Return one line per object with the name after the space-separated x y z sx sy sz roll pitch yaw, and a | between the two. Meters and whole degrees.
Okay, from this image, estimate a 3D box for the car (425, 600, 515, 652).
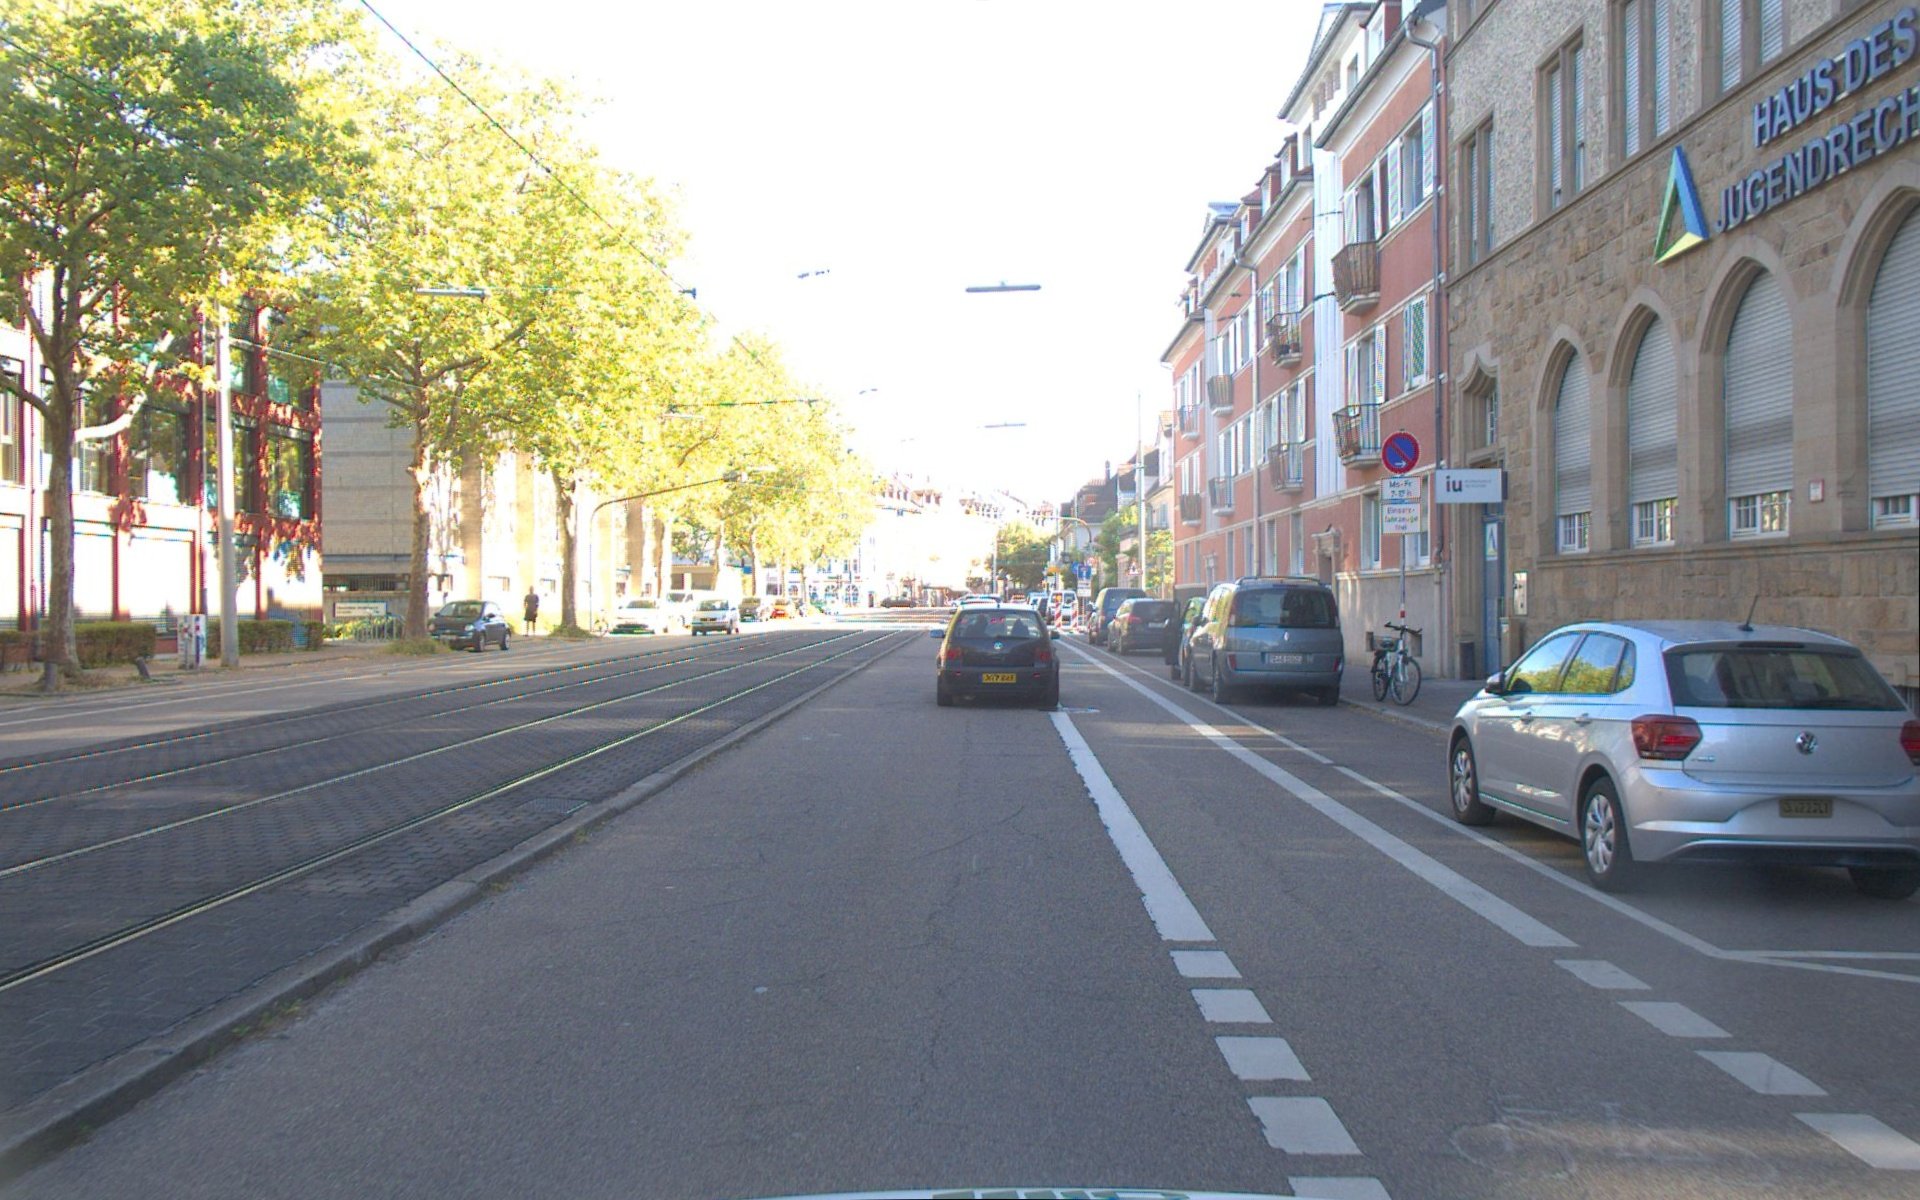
-14.376 0.792 48.658 1.476 1.479 3.463 0 -2 2 | car

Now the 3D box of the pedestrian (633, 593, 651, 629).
-16.584 0.553 86.258 0.780 1.852 0.670 2 0 1 | pedestrian

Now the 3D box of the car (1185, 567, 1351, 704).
4.603 0.488 25.383 1.717 1.888 4.816 1 0 1 | car

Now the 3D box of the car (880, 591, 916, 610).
-7.225 0.037 192.483 3.915 2.049 1.995 2 0 -11 | car

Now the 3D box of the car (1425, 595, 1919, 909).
4.333 0.755 10.351 1.678 1.527 4.226 2 0 1 | car

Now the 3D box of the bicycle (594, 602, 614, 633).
-14.500 0.701 67.371 0.570 1.230 1.652 0 0 -5 | bicycle

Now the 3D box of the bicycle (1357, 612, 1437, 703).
6.098 0.771 23.181 0.504 1.159 2.259 -2 0 0 | bicycle

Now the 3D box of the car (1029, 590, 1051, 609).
6.102 -0.029 126.533 1.547 1.399 4.000 0 0 1 | car

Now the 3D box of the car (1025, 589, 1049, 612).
6.081 0.045 131.167 1.780 1.830 4.000 0 0 1 | car

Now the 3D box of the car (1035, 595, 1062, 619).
5.784 0.449 108.549 1.626 1.552 4.036 0 0 1 | car

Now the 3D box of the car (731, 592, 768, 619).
-13.634 0.339 107.466 1.849 1.695 4.000 0 0 1 | car

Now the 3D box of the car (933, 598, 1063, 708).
0.485 0.697 23.750 1.713 1.399 4.000 0 0 -1 | car

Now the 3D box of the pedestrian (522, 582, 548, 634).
-15.919 0.308 61.990 0.775 1.902 0.665 1 0 -27 | pedestrian

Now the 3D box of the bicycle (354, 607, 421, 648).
-19.083 0.918 55.166 1.967 1.301 0.664 1 0 1 | bicycle

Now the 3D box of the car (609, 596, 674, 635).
-14.006 0.655 72.949 1.971 1.600 4.693 2 0 -1 | car

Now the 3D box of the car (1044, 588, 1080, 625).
5.460 0.344 88.789 1.723 1.870 3.548 2 0 1 | car

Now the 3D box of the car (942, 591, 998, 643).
0.347 0.509 52.954 1.712 1.564 3.892 0 0 1 | car

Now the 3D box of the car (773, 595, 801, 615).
-13.919 0.397 133.349 1.755 1.491 3.836 3 0 1 | car

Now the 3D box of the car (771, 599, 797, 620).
-13.195 0.738 124.101 1.538 1.560 3.572 0 -1 1 | car

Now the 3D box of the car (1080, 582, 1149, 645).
4.965 0.413 53.599 1.668 1.842 4.271 3 0 -1 | car

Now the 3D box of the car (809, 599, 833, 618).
-12.848 0.753 152.710 1.845 1.698 3.804 2 0 0 | car

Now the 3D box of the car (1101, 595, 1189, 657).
4.958 0.657 44.983 1.718 1.538 4.761 2 0 -1 | car

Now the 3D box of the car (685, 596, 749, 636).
-9.932 0.626 67.857 1.716 1.544 4.073 -2 0 4 | car

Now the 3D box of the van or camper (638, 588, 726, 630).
-13.926 0.458 83.302 2.018 1.983 5.190 2 0 20 | van or camper

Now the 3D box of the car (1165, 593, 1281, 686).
4.713 0.660 30.025 1.598 1.538 3.717 2 0 2 | car

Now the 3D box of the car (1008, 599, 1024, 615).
5.865 0.755 172.747 1.633 1.626 3.650 0 0 1 | car
